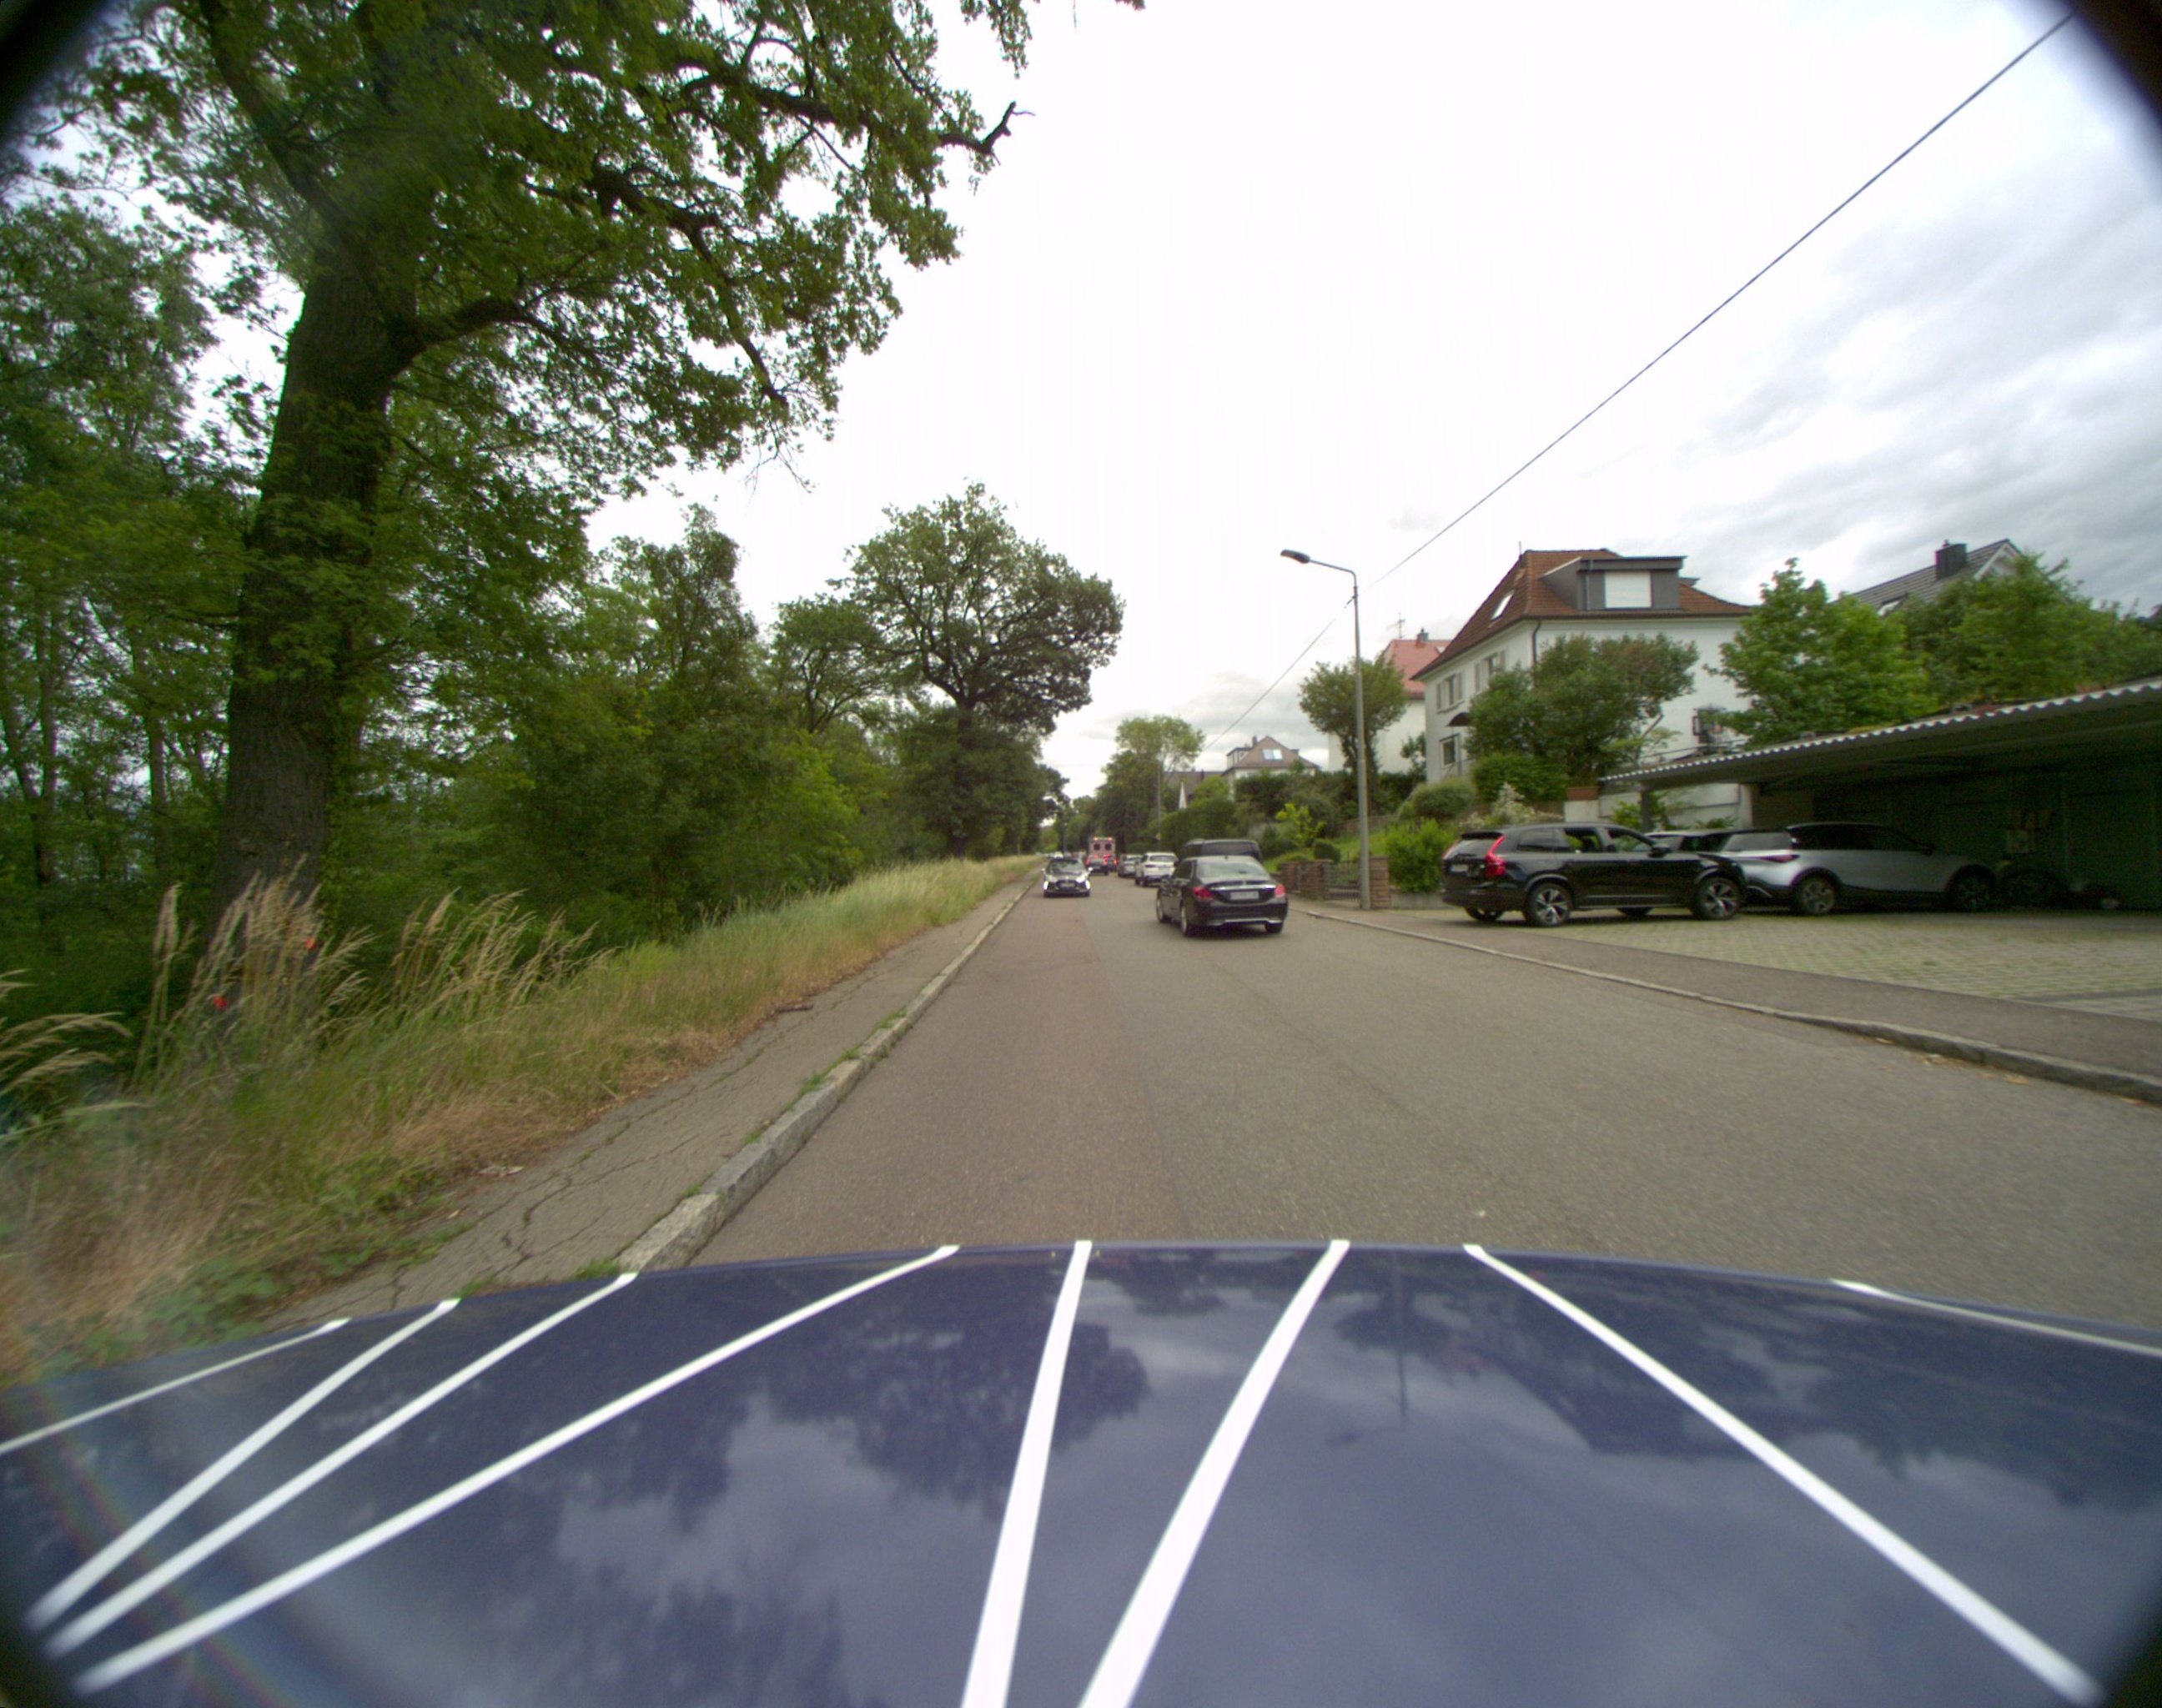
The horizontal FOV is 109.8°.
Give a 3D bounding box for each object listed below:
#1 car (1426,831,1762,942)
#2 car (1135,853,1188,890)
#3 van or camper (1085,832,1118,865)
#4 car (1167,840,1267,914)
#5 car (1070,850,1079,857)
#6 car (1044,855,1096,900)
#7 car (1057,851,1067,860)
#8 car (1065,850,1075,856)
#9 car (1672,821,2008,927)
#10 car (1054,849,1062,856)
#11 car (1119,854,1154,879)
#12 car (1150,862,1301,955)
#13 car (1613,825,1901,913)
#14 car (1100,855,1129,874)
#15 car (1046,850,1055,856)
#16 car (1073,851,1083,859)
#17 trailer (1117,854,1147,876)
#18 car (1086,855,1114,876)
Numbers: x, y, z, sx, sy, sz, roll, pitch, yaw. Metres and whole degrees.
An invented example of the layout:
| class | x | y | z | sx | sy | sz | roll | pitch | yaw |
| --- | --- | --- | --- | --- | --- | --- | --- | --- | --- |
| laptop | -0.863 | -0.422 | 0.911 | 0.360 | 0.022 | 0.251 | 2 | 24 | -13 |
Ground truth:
| class | x | y | z | sx | sy | sz | roll | pitch | yaw |
| --- | --- | --- | --- | --- | --- | --- | --- | --- | --- |
| car | 8.780 | 0.510 | 13.253 | 4.629 | 1.687 | 1.999 | -1 | 0 | -5 |
| car | 3.736 | 0.774 | 36.038 | 1.843 | 1.639 | 4.184 | 1 | 0 | -3 |
| van or camper | 1.803 | -0.492 | 69.066 | 2.463 | 2.878 | 7.165 | 0 | 0 | -2 |
| car | 3.937 | 0.603 | 22.915 | 1.868 | 1.915 | 5.036 | -2 | 0 | -2 |
| car | -1.503 | -0.181 | 168.849 | 1.741 | 1.431 | 3.786 | -2 | 0 | -4 |
| car | -0.494 | 0.839 | 29.079 | 1.788 | 1.491 | 4.013 | -2 | 0 | -3 |
| car | -4.054 | 0.302 | 159.356 | 1.999 | 1.678 | 4.709 | -2 | 0 | -2 |
| car | -2.746 | -0.187 | 190.407 | 1.766 | 1.441 | 4.040 | -2 | 0 | -8 |
| car | 13.529 | 0.366 | 13.749 | 4.134 | 1.686 | 2.000 | -1 | -2 | -3 |
| car | -5.523 | -0.360 | 181.949 | 1.999 | 1.678 | 4.709 | -2 | 0 | -2 |
| car | 3.502 | 0.783 | 48.892 | 1.768 | 1.490 | 4.472 | 1 | 0 | -2 |
| car | 2.612 | 0.921 | 14.901 | 1.868 | 1.406 | 4.591 | -2 | 0 | -2 |
| car | 14.550 | 0.337 | 16.527 | 4.629 | 1.686 | 2.000 | -1 | -2 | -5 |
| car | 2.670 | 0.797 | 61.903 | 1.768 | 1.438 | 4.471 | -1 | 0 | -5 |
| car | -9.224 | -0.198 | 228.578 | 2.000 | 1.678 | 4.705 | -2 | 0 | -12 |
| car | -0.548 | 0.223 | 150.160 | 1.788 | 1.491 | 4.013 | -2 | 0 | -3 |
| trailer | 3.624 | 0.740 | 54.244 | 1.768 | 1.487 | 4.473 | 0 | 0 | -1 |
| car | 1.327 | 0.799 | 54.559 | 1.768 | 1.438 | 4.472 | 0 | 0 | -2 |
